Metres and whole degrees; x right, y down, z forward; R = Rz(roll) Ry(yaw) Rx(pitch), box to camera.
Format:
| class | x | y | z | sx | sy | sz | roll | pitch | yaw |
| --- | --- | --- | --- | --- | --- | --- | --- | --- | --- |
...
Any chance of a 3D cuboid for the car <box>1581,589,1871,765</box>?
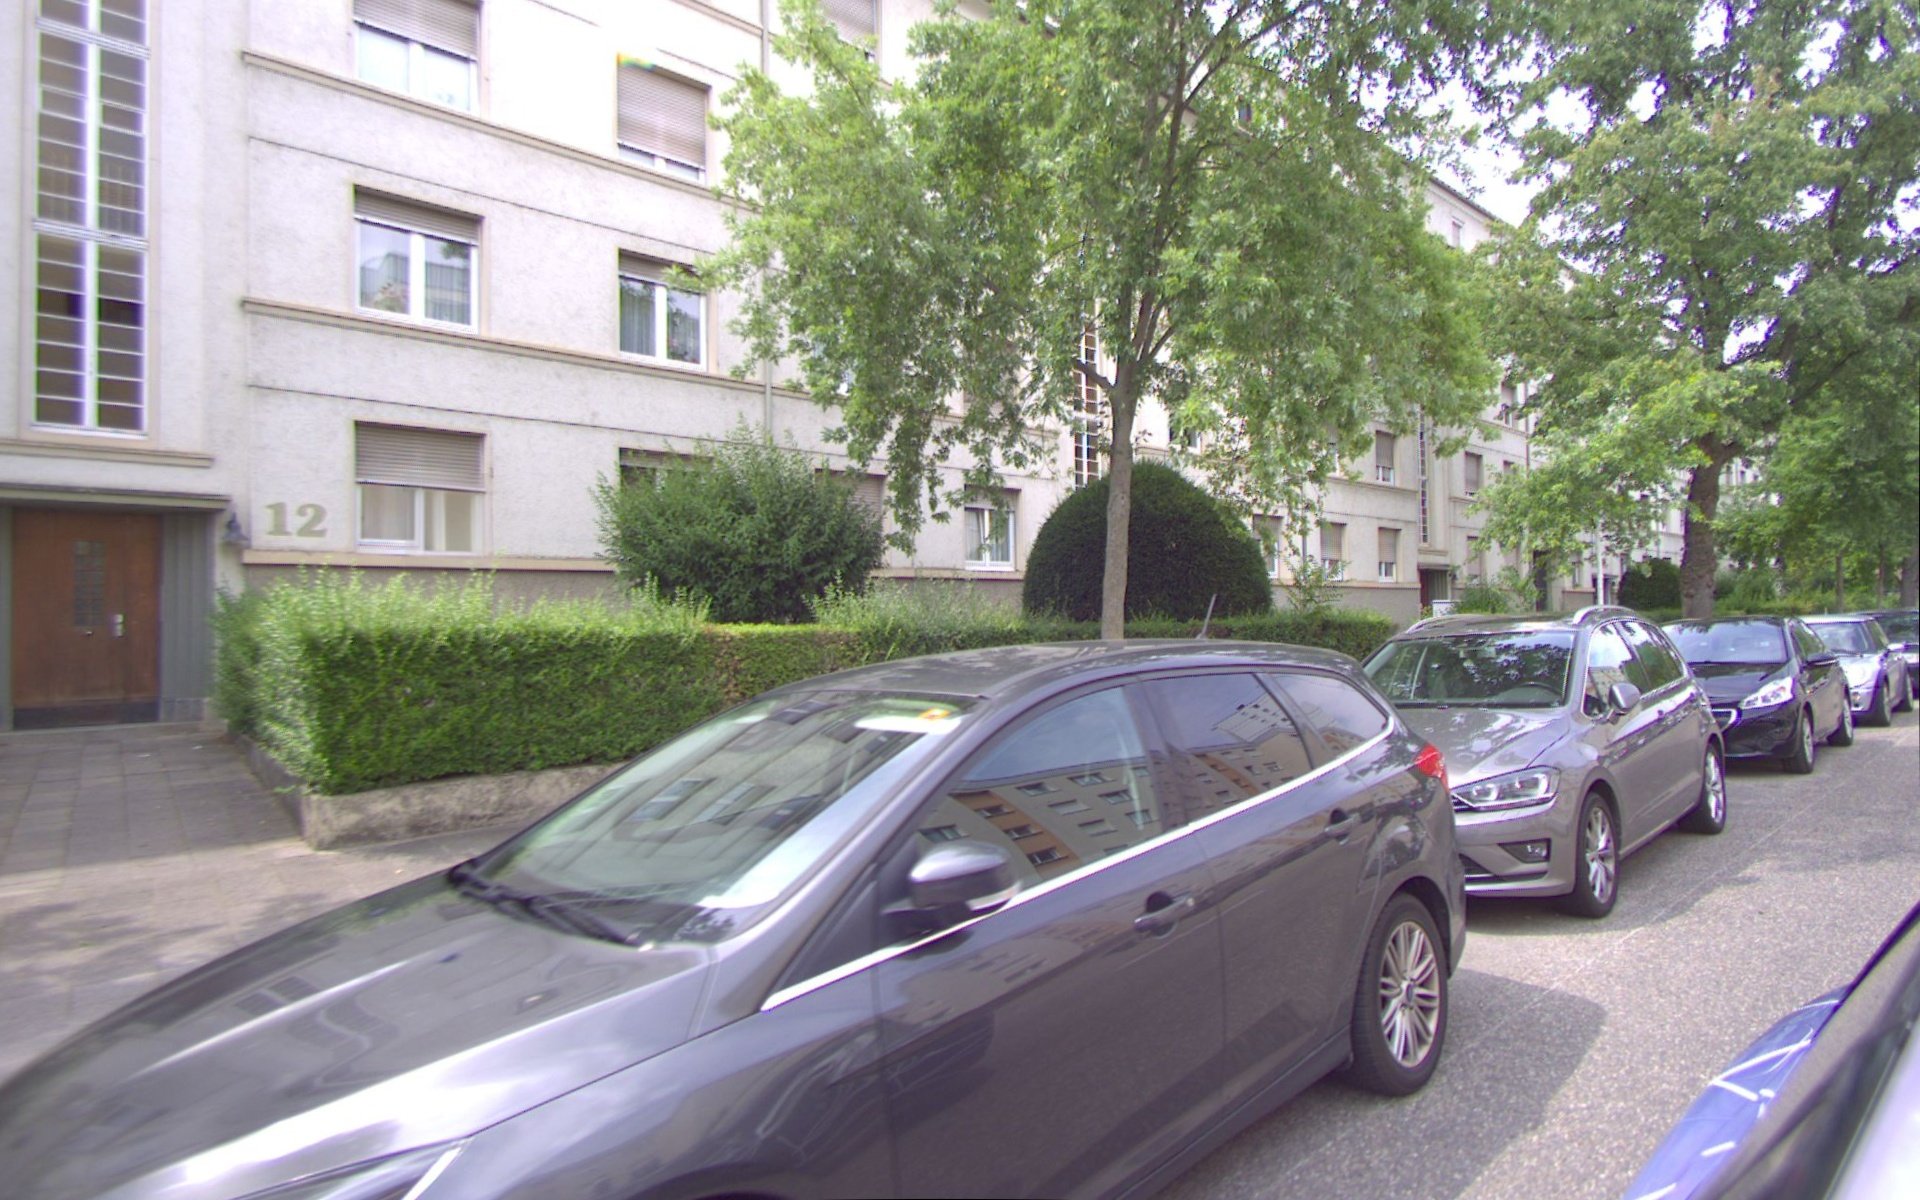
| class | x | y | z | sx | sy | sz | roll | pitch | yaw |
| --- | --- | --- | --- | --- | --- | --- | --- | --- | --- |
| car | 8.008 | 0.693 | 10.463 | 3.822 | 1.488 | 1.661 | 1 | -2 | -42 |

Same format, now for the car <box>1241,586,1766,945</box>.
| class | x | y | z | sx | sy | sz | roll | pitch | yaw |
| --- | --- | --- | --- | --- | --- | --- | --- | --- | --- |
| car | 3.748 | 0.786 | 6.604 | 4.213 | 1.603 | 1.660 | 0 | -4 | -43 |

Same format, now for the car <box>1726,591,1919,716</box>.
| class | x | y | z | sx | sy | sz | roll | pitch | yaw |
| --- | --- | --- | --- | --- | --- | --- | --- | --- | --- |
| car | 12.050 | 0.681 | 13.954 | 3.660 | 1.488 | 1.661 | 1 | -2 | -42 |

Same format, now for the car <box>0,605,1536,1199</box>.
| class | x | y | z | sx | sy | sz | roll | pitch | yaw |
| --- | --- | --- | --- | --- | --- | --- | --- | --- | --- |
| car | 0.079 | 0.798 | 3.041 | 4.317 | 1.488 | 1.618 | 0 | -3 | -43 |

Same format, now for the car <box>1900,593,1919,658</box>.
| class | x | y | z | sx | sy | sz | roll | pitch | yaw |
| --- | --- | --- | --- | --- | --- | --- | --- | --- | --- |
| car | 24.137 | 0.556 | 24.383 | 4.636 | 1.488 | 1.699 | 0 | -3 | -42 |

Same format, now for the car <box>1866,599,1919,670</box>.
| class | x | y | z | sx | sy | sz | roll | pitch | yaw |
| --- | --- | --- | --- | --- | --- | --- | --- | --- | --- |
| car | 20.874 | 0.689 | 21.688 | 3.785 | 1.419 | 1.671 | 0 | -3 | -42 |

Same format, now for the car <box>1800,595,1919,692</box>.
| class | x | y | z | sx | sy | sz | roll | pitch | yaw |
| --- | --- | --- | --- | --- | --- | --- | --- | --- | --- |
| car | 16.259 | 0.690 | 17.421 | 4.530 | 1.488 | 1.784 | 0 | -2 | -38 |
